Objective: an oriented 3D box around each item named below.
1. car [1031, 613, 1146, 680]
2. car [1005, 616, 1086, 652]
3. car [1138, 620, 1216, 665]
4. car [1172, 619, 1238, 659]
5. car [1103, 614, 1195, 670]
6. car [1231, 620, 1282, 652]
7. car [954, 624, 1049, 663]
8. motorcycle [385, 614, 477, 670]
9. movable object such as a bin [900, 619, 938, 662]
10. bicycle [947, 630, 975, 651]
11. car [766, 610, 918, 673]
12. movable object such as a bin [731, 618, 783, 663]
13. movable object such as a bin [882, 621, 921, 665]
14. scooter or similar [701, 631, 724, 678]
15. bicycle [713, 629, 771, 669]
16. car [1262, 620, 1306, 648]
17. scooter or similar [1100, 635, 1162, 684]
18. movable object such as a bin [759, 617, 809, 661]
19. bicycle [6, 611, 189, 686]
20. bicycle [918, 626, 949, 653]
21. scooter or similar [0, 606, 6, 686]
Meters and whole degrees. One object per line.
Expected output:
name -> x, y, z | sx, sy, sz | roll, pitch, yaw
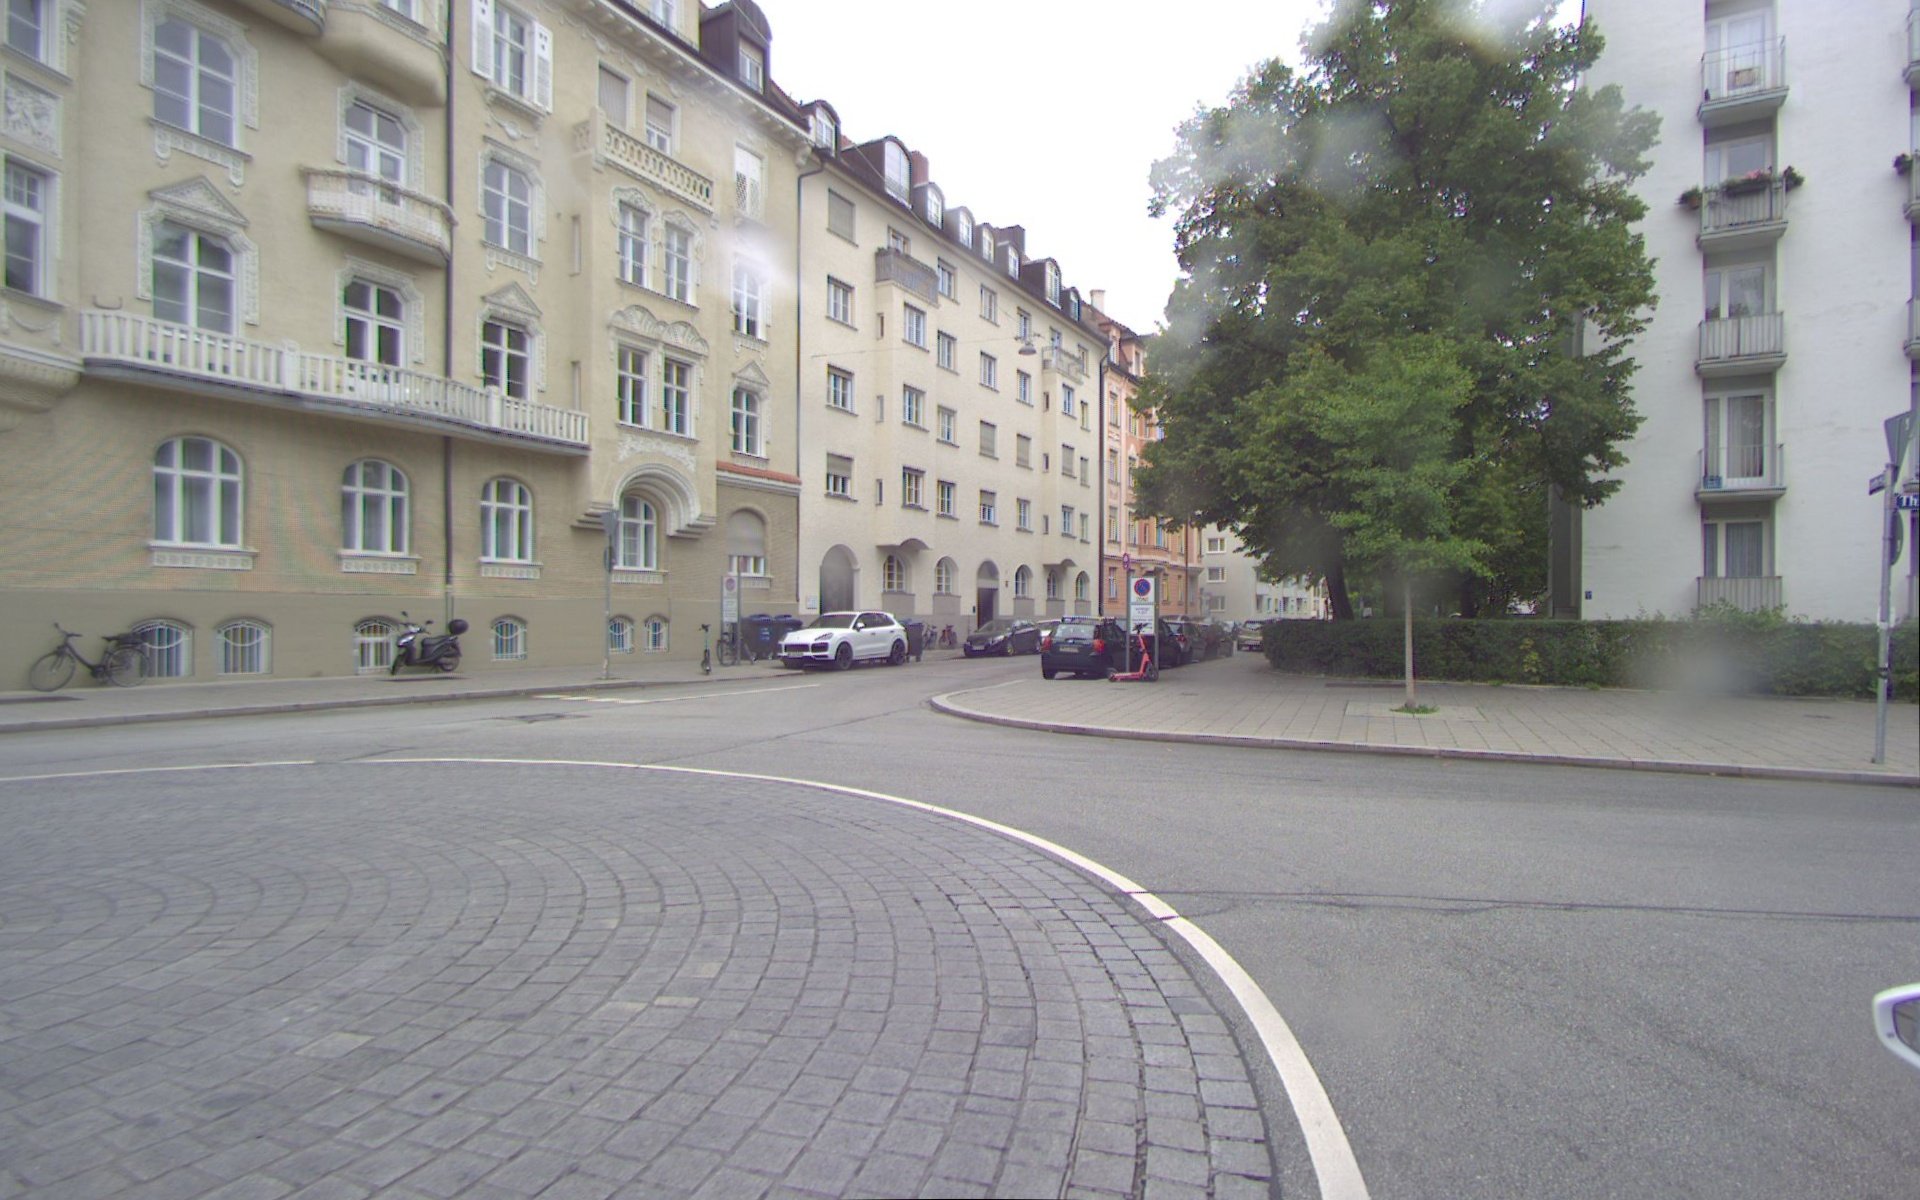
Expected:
car -> 3.309, 1.127, 25.285 | 1.645, 1.548, 3.671 | -2, -2, 28
car -> 3.729, 1.422, 43.295 | 1.964, 1.469, 4.174 | 0, -1, 28
car -> 7.549, 1.440, 34.716 | 1.645, 1.476, 3.671 | -2, -2, 28
car -> 9.674, 1.504, 39.486 | 1.645, 1.476, 3.671 | -2, -2, 28
car -> 5.717, 1.235, 30.148 | 1.645, 1.548, 3.671 | -2, -2, 28
car -> 14.681, 1.772, 49.602 | 1.645, 1.476, 3.671 | -2, -2, 28
car -> 1.689, 1.638, 39.137 | 1.964, 1.376, 4.471 | 0, -1, 28
motorcycle -> -11.922, 0.920, 22.684 | 0.728, 1.202, 1.744 | 0, -1, 26
movable object such as a bin -> -1.401, 1.357, 34.071 | 0.935, 1.419, 0.916 | 0, -1, 32
bicycle -> 0.040, 1.794, 44.644 | 0.641, 0.914, 1.814 | 0, -1, 21
car -> -3.381, 1.161, 29.817 | 1.964, 1.698, 4.983 | 0, -1, 28
movable object such as a bin -> -6.473, 1.273, 32.108 | 1.128, 1.389, 1.178 | 0, -1, 31
movable object such as a bin -> -1.926, 1.400, 33.282 | 0.935, 1.419, 0.916 | 0, -1, 32
scooter or similar -> -6.265, 1.371, 25.389 | 0.533, 1.123, 1.343 | 1, -1, -14
bicycle -> -6.207, 1.373, 28.706 | 0.641, 1.083, 1.975 | 0, -1, 21
car -> 18.118, 1.879, 56.103 | 1.645, 1.476, 3.671 | -2, -2, 28
scooter or similar -> 3.780, 1.297, 22.177 | 1.285, 1.038, 0.529 | 0, 0, 18
movable object such as a bin -> -5.792, 1.272, 33.026 | 1.128, 1.389, 1.178 | 0, -1, 31
bicycle -> -14.972, 0.803, 17.534 | 0.686, 1.219, 2.338 | 0, -1, 25
bicycle -> -1.086, 1.649, 41.996 | 0.641, 1.083, 1.814 | 0, -1, 21
scooter or similar -> -15.766, 0.736, 15.643 | 0.450, 1.288, 1.285 | 1, -1, 12
